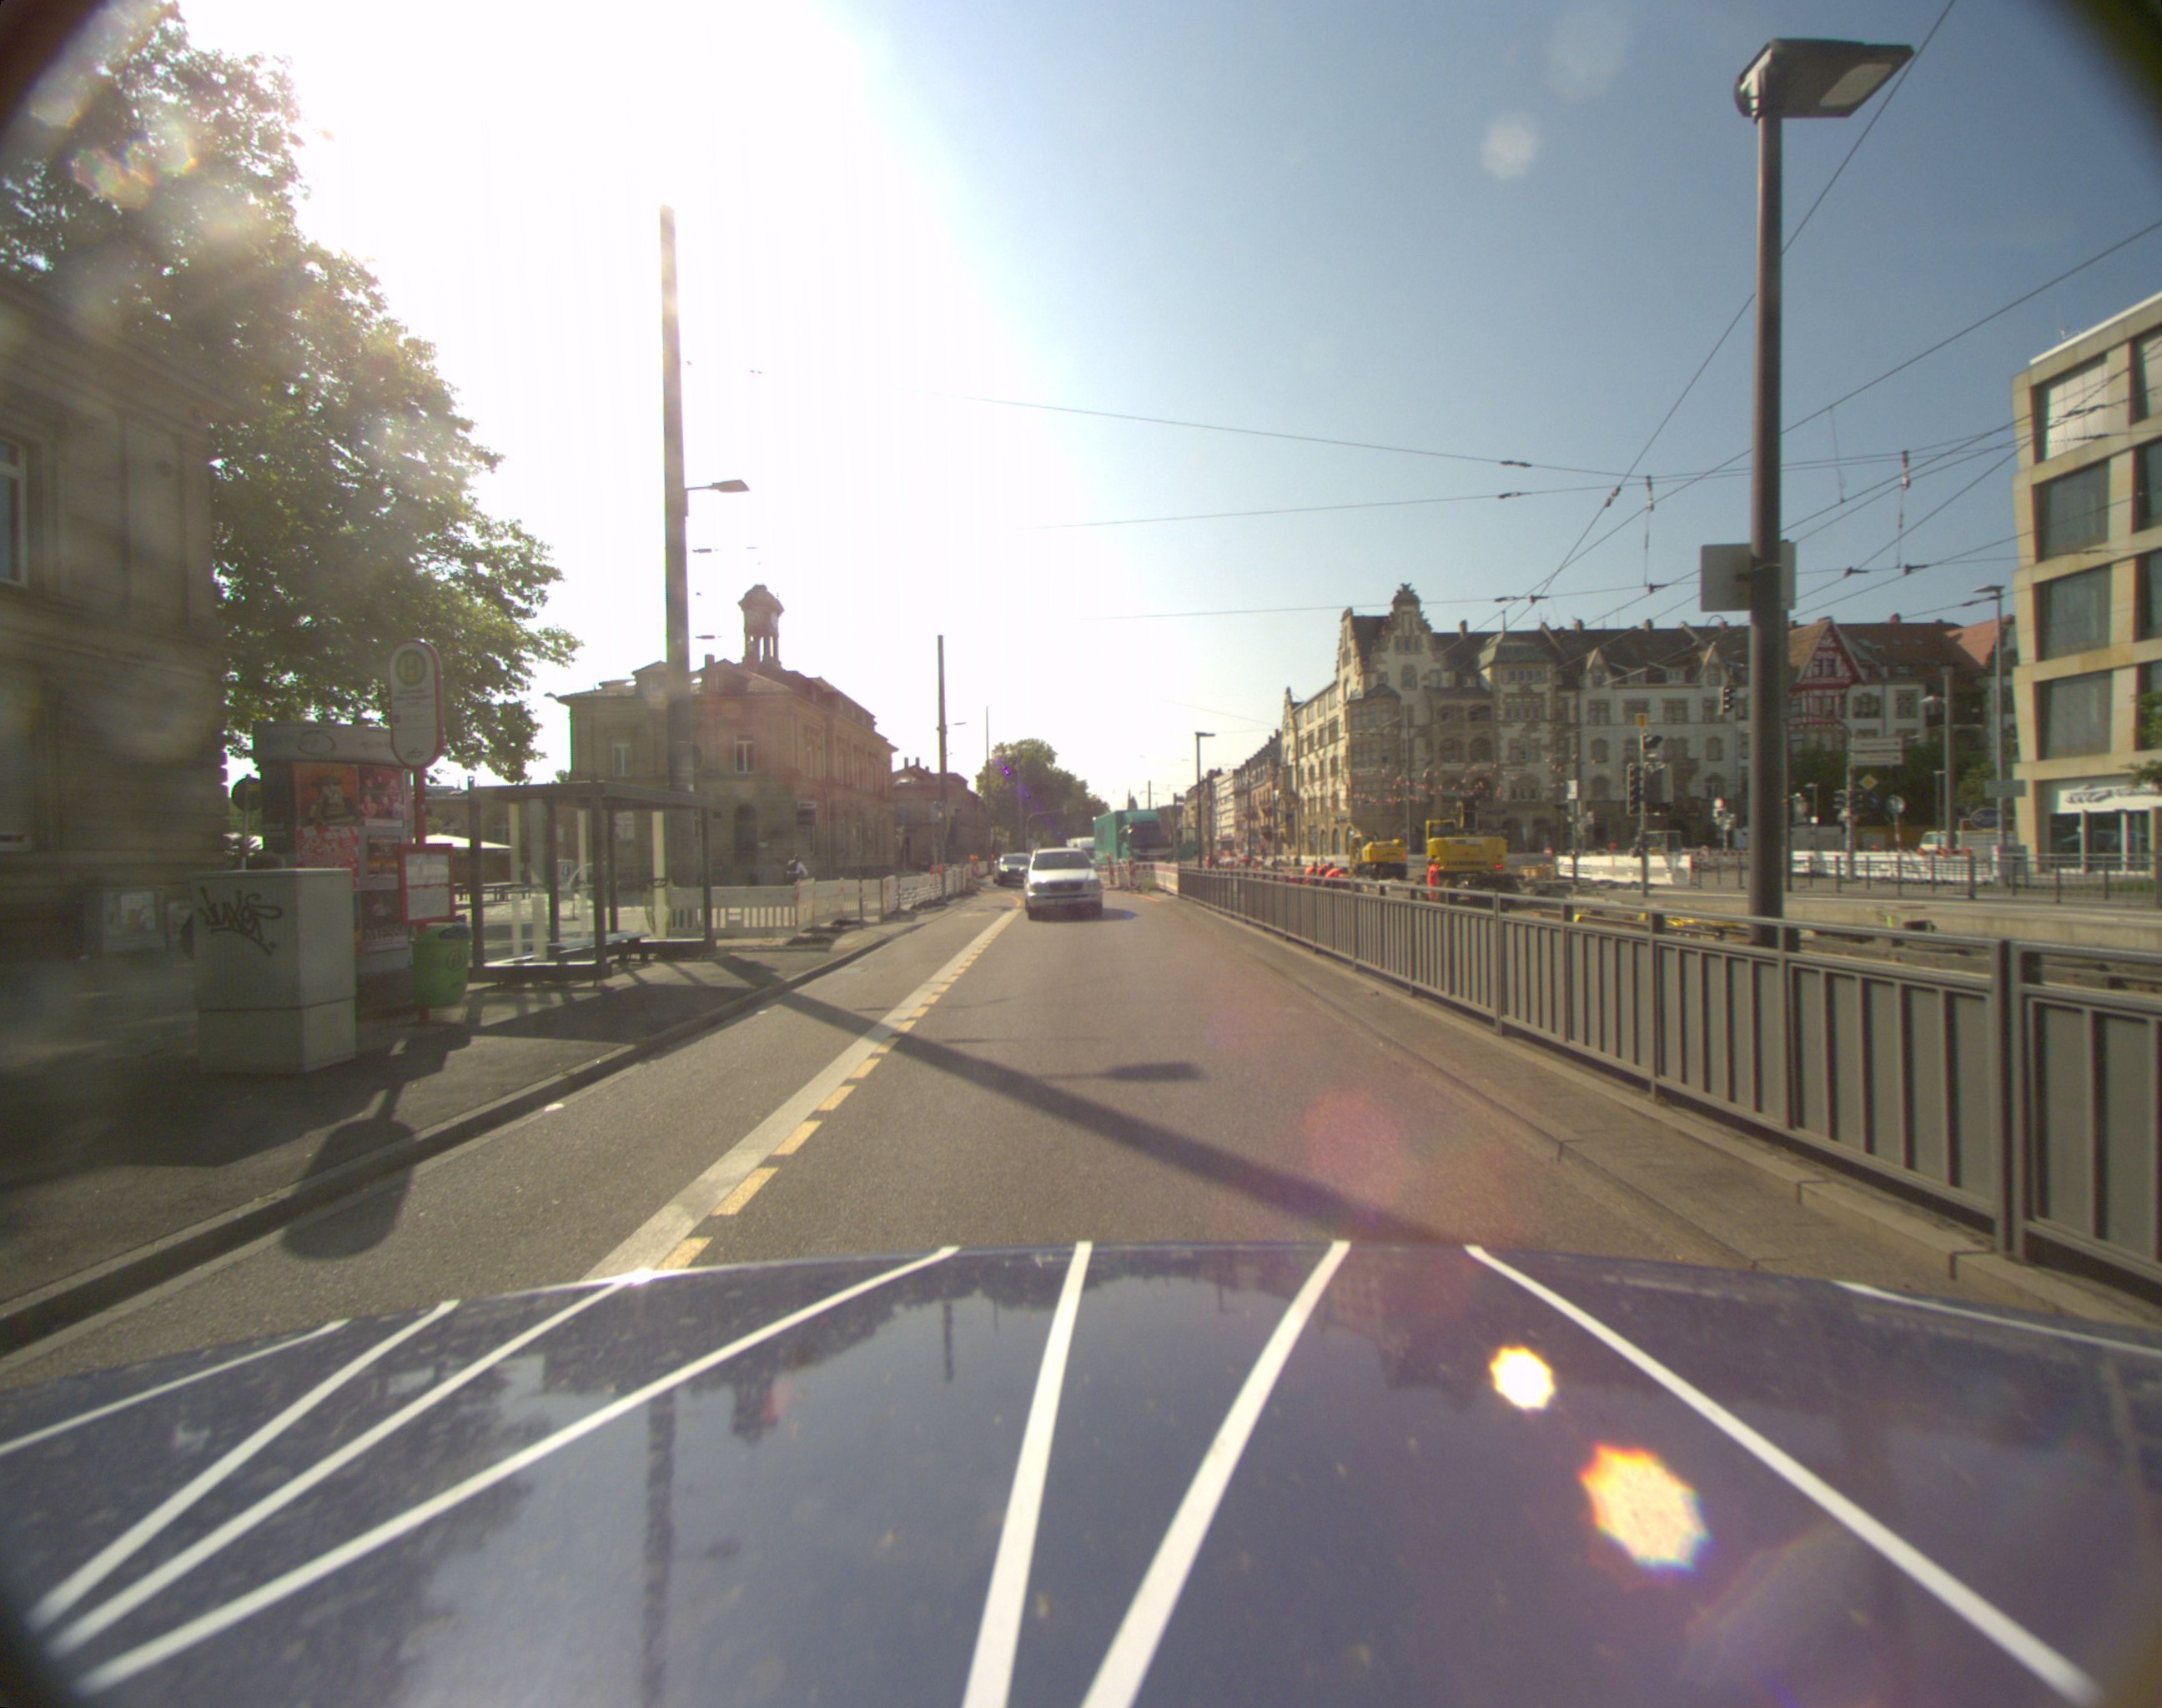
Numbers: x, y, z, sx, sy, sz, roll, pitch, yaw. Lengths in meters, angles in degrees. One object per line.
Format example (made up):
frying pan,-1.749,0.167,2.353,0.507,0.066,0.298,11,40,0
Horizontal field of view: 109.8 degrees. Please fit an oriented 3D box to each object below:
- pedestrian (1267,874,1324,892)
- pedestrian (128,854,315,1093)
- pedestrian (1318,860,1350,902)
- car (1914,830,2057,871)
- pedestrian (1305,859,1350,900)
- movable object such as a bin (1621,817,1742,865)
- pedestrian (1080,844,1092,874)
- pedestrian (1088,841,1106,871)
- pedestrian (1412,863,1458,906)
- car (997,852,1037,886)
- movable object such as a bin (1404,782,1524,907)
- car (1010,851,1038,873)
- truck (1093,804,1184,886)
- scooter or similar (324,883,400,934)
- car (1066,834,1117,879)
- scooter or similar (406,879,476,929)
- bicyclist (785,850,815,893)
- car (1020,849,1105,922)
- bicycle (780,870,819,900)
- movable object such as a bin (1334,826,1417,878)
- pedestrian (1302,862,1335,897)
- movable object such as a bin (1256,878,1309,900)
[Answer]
pedestrian,8.060,1.095,28.642,1.906,0.632,0.913,-1,0,4
pedestrian,-6.517,0.850,5.808,0.690,1.687,0.647,-1,1,-20
pedestrian,8.010,0.842,24.041,0.838,1.299,0.800,-1,0,25
car,45.777,-0.172,38.528,5.115,2.018,1.817,-1,0,0
pedestrian,8.154,0.827,25.119,1.313,1.299,0.800,-1,0,25
movable object such as a bin,36.091,-0.780,45.783,5.627,2.723,2.135,-1,1,0
pedestrian,0.327,0.358,51.250,0.735,2.002,0.907,0,1,6
pedestrian,0.903,0.127,42.689,0.705,1.684,0.767,0,1,37
pedestrian,10.964,0.940,23.577,1.017,1.299,0.983,-1,0,4
car,-3.417,0.785,40.870,1.999,1.685,5.223,-1,0,-4
movable object such as a bin,14.470,-0.286,29.163,3.506,3.989,9.057,-1,0,25
car,-4.651,0.661,61.456,2.000,1.685,5.222,-1,0,-7
truck,2.648,-0.395,38.070,2.683,3.657,8.207,-1,0,-9
scooter or similar,-17.380,1.301,18.397,1.257,1.202,0.422,0,-1,-24
car,0.601,0.155,49.131,2.232,2.713,5.165,-1,0,-11
scooter or similar,-15.874,1.218,18.861,0.421,1.202,1.257,-1,-2,23
bicyclist,-10.240,0.614,27.740,0.719,1.534,0.955,-1,0,-2
car,-0.558,0.735,20.478,1.999,1.686,5.223,-1,0,-3
bicycle,-10.232,1.104,27.681,0.719,1.036,1.902,-1,0,-2
movable object such as a bin,20.321,-0.139,53.069,2.853,3.310,8.347,0,0,2
pedestrian,8.276,0.881,26.508,0.983,1.183,0.800,-1,0,25
movable object such as a bin,6.269,1.079,23.651,1.507,0.649,0.702,-1,0,22
